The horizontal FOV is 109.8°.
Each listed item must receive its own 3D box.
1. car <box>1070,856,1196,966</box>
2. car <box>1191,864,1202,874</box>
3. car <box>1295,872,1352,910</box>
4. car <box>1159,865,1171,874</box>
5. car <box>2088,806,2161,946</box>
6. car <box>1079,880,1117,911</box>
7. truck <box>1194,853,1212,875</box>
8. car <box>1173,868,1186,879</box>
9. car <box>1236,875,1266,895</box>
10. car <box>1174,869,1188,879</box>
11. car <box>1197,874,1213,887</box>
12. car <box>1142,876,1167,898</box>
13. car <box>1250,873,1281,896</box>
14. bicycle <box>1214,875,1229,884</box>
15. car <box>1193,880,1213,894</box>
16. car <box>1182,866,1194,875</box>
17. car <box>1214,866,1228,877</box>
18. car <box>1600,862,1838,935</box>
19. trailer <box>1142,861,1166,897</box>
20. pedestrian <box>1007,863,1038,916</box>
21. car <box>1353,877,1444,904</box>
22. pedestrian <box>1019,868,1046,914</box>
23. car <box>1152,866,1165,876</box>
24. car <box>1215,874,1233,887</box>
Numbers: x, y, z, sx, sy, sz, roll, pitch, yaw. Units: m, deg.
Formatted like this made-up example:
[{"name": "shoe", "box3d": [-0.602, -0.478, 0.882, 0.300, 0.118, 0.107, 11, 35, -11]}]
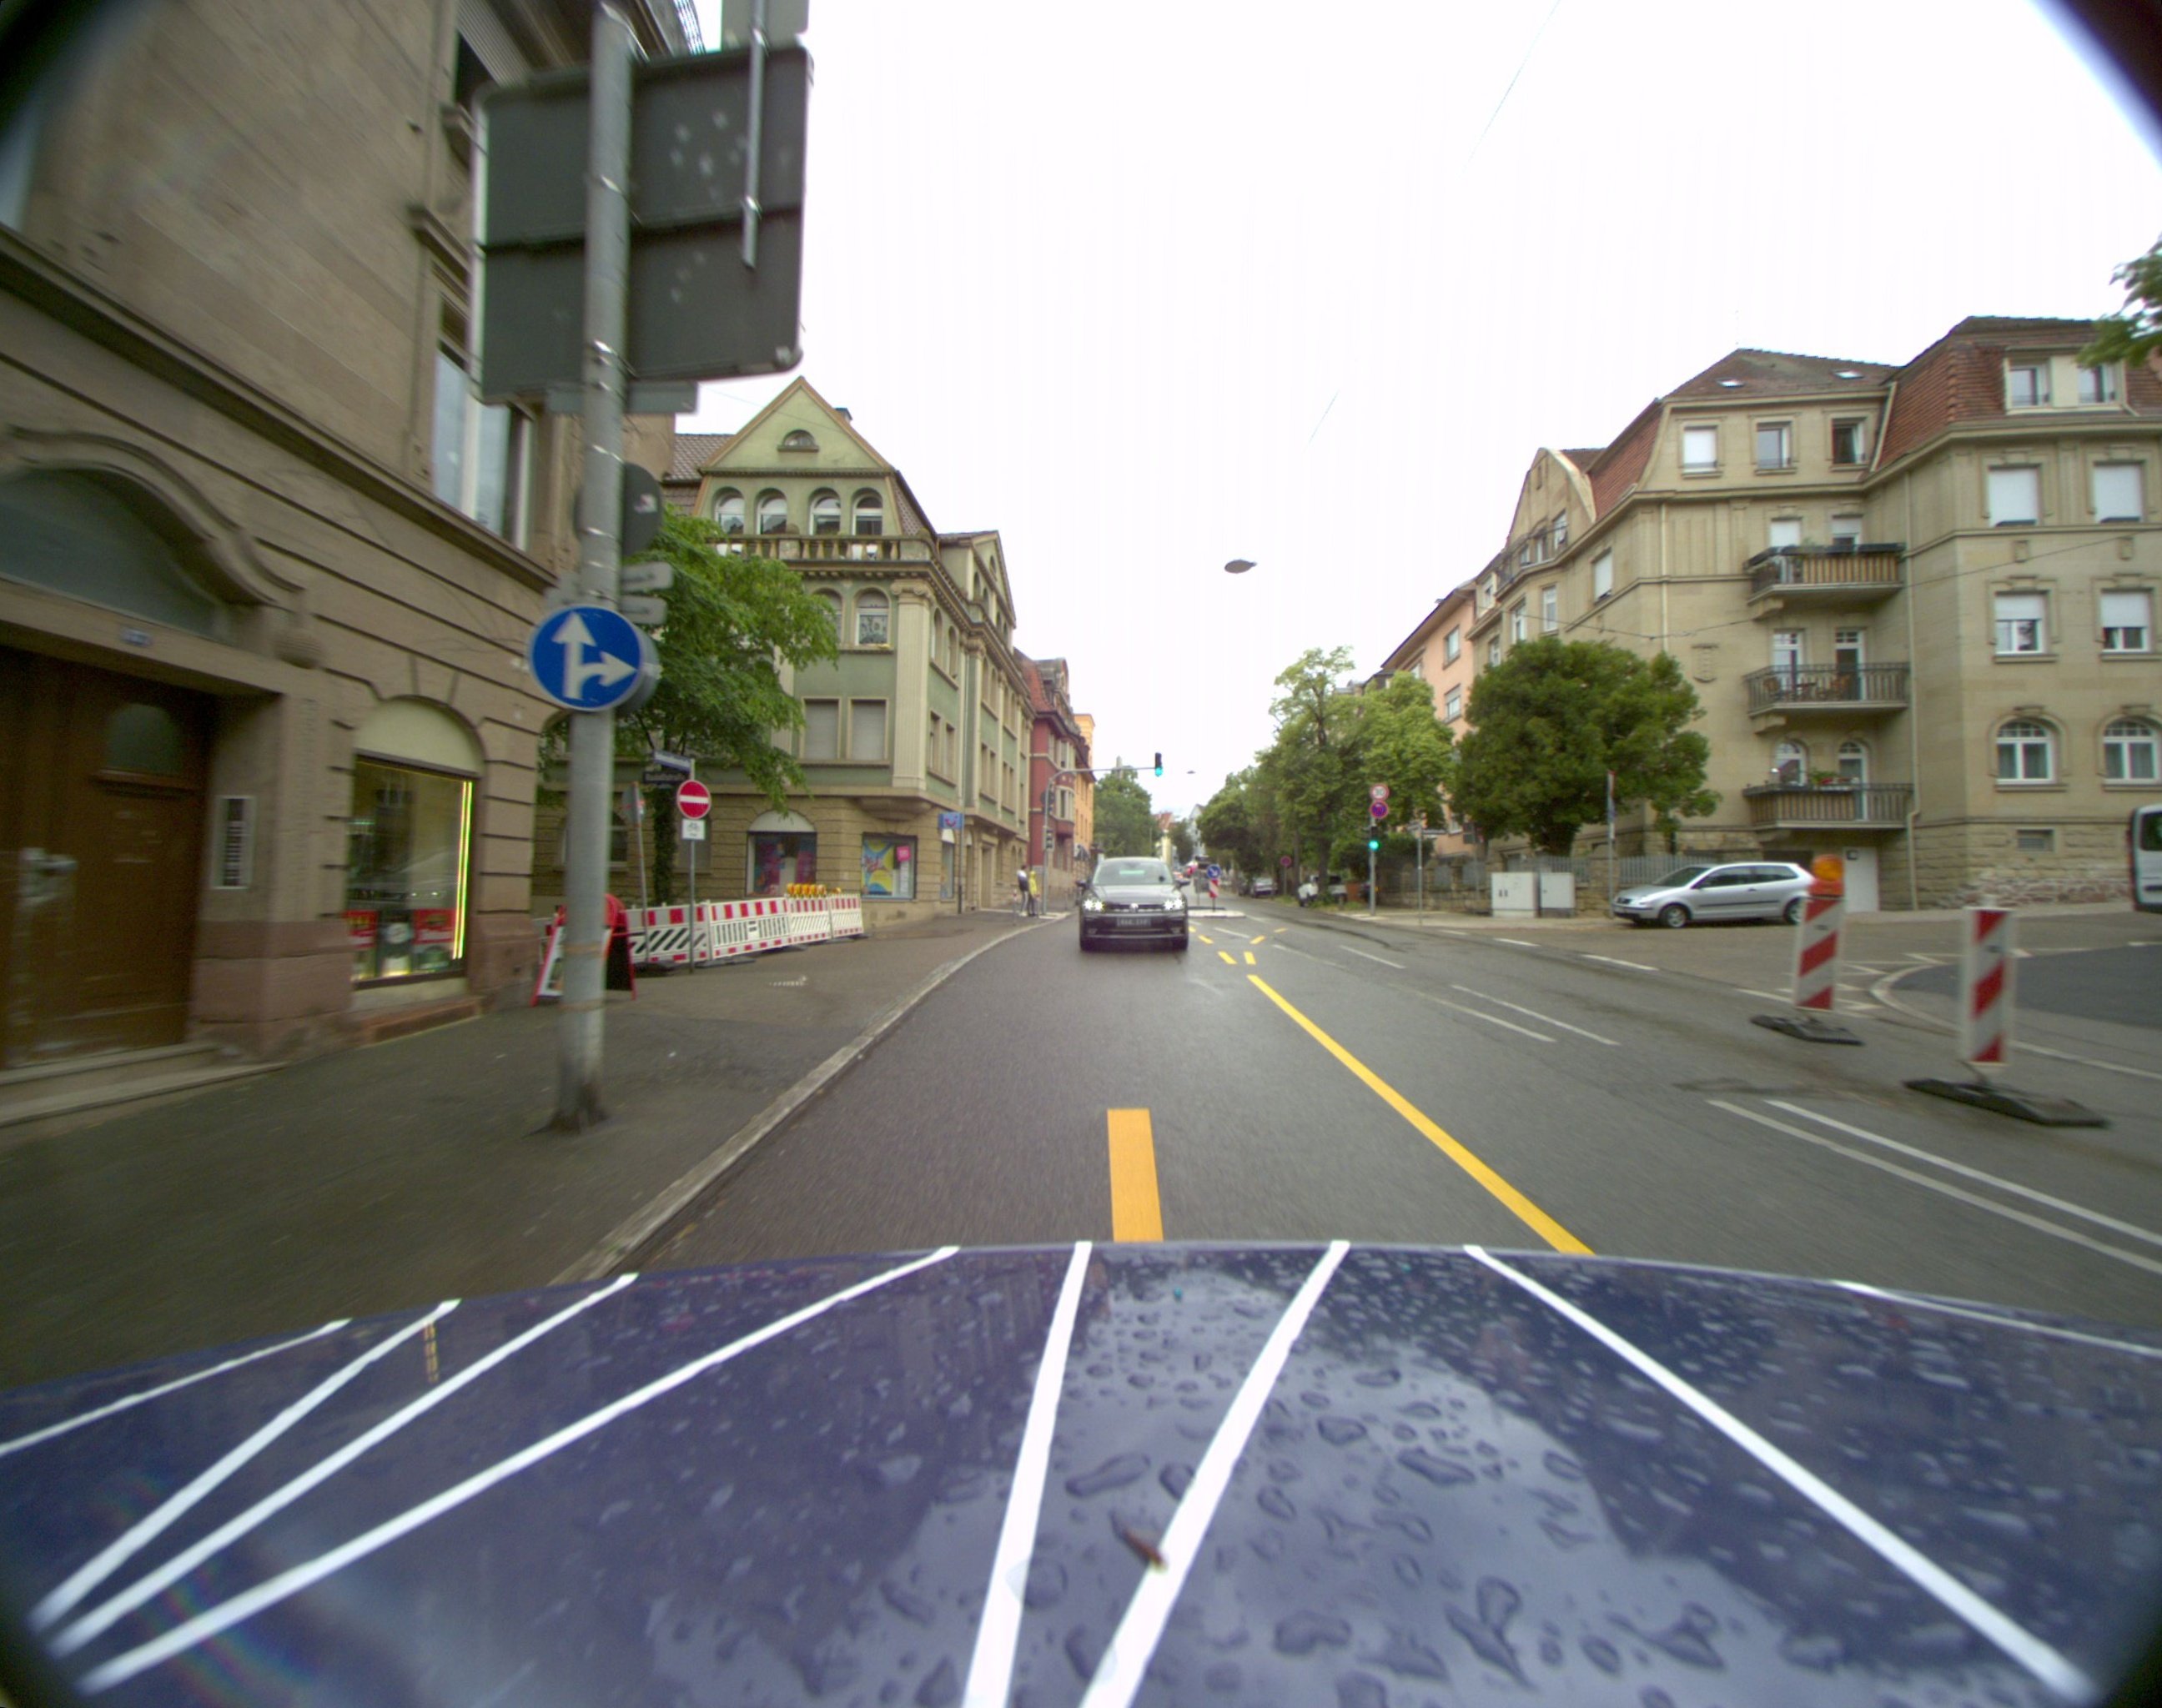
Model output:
[{"name": "car", "box3d": [0.912, 0.909, 13.938, 1.859, 1.641, 5.197, 0, -1, 3]}, {"name": "car", "box3d": [21.890, 2.907, 144.017, 1.654, 1.698, 4.117, 2, 1, 12]}, {"name": "car", "box3d": [11.474, 1.714, 36.206, 1.745, 1.550, 4.305, -2, -1, 7]}, {"name": "car", "box3d": [16.606, 2.985, 149.750, 1.923, 1.552, 4.016, 3, 0, 11]}, {"name": "car", "box3d": [17.760, 0.080, 10.144, 4.669, 2.035, 2.029, -7, -4, 21]}, {"name": "car", "box3d": [1.124, 2.604, 48.475, 1.880, 1.620, 4.700, 3, 0, 7]}, {"name": "truck", "box3d": [21.675, 1.812, 135.625, 2.653, 3.831, 9.313, 2, -1, 6]}, {"name": "car", "box3d": [14.606, 2.863, 112.444, 1.775, 1.508, 4.103, 0, 0, 9]}, {"name": "car", "box3d": [14.692, 2.677, 65.831, 1.745, 1.550, 4.303, -3, -1, 3]}, {"name": "car", "box3d": [15.688, 3.156, 119.036, 1.765, 1.423, 3.888, 0, 0, 12]}, {"name": "car", "box3d": [17.331, 3.662, 106.684, 1.776, 1.509, 4.591, 2, 1, 5]}, {"name": "car", "box3d": [6.083, 2.727, 62.894, 1.924, 1.641, 4.137, -2, -1, 5]}, {"name": "car", "box3d": [13.916, 2.301, 57.605, 1.745, 1.550, 4.305, -2, -1, 7]}, {"name": "bicycle", "box3d": [19.022, 3.497, 102.958, 1.979, 1.228, 0.658, 0, 0, 6]}, {"name": "car", "box3d": [13.647, 3.681, 85.020, 1.819, 1.508, 4.552, 1, -3, 5]}, {"name": "car", "box3d": [18.303, 2.802, 129.613, 1.714, 1.471, 4.118, 2, 0, 12]}, {"name": "car", "box3d": [23.068, 2.813, 125.182, 1.999, 1.586, 3.831, -3, -1, 11]}, {"name": "car", "box3d": [14.885, 1.026, 17.971, 3.869, 1.401, 1.827, -4, 1, 12]}, {"name": "trailer", "box3d": [6.365, 2.114, 66.121, 1.966, 3.023, 2.366, -2, -1, 5]}, {"name": "pedestrian", "box3d": [-1.992, 1.199, 25.973, 0.663, 1.763, 0.722, 1, -2, 34]}, {"name": "car", "box3d": [16.365, 1.872, 39.330, 3.995, 1.318, 1.838, 0, -2, 5]}, {"name": "pedestrian", "box3d": [-1.690, 1.293, 26.655, 0.663, 1.575, 0.600, 1, -1, 33]}, {"name": "car", "box3d": [14.364, 3.074, 140.291, 1.923, 1.552, 4.015, 3, 1, 11]}, {"name": "car", "box3d": [18.785, 3.491, 99.797, 1.745, 1.550, 4.304, -2, -1, 4]}]
